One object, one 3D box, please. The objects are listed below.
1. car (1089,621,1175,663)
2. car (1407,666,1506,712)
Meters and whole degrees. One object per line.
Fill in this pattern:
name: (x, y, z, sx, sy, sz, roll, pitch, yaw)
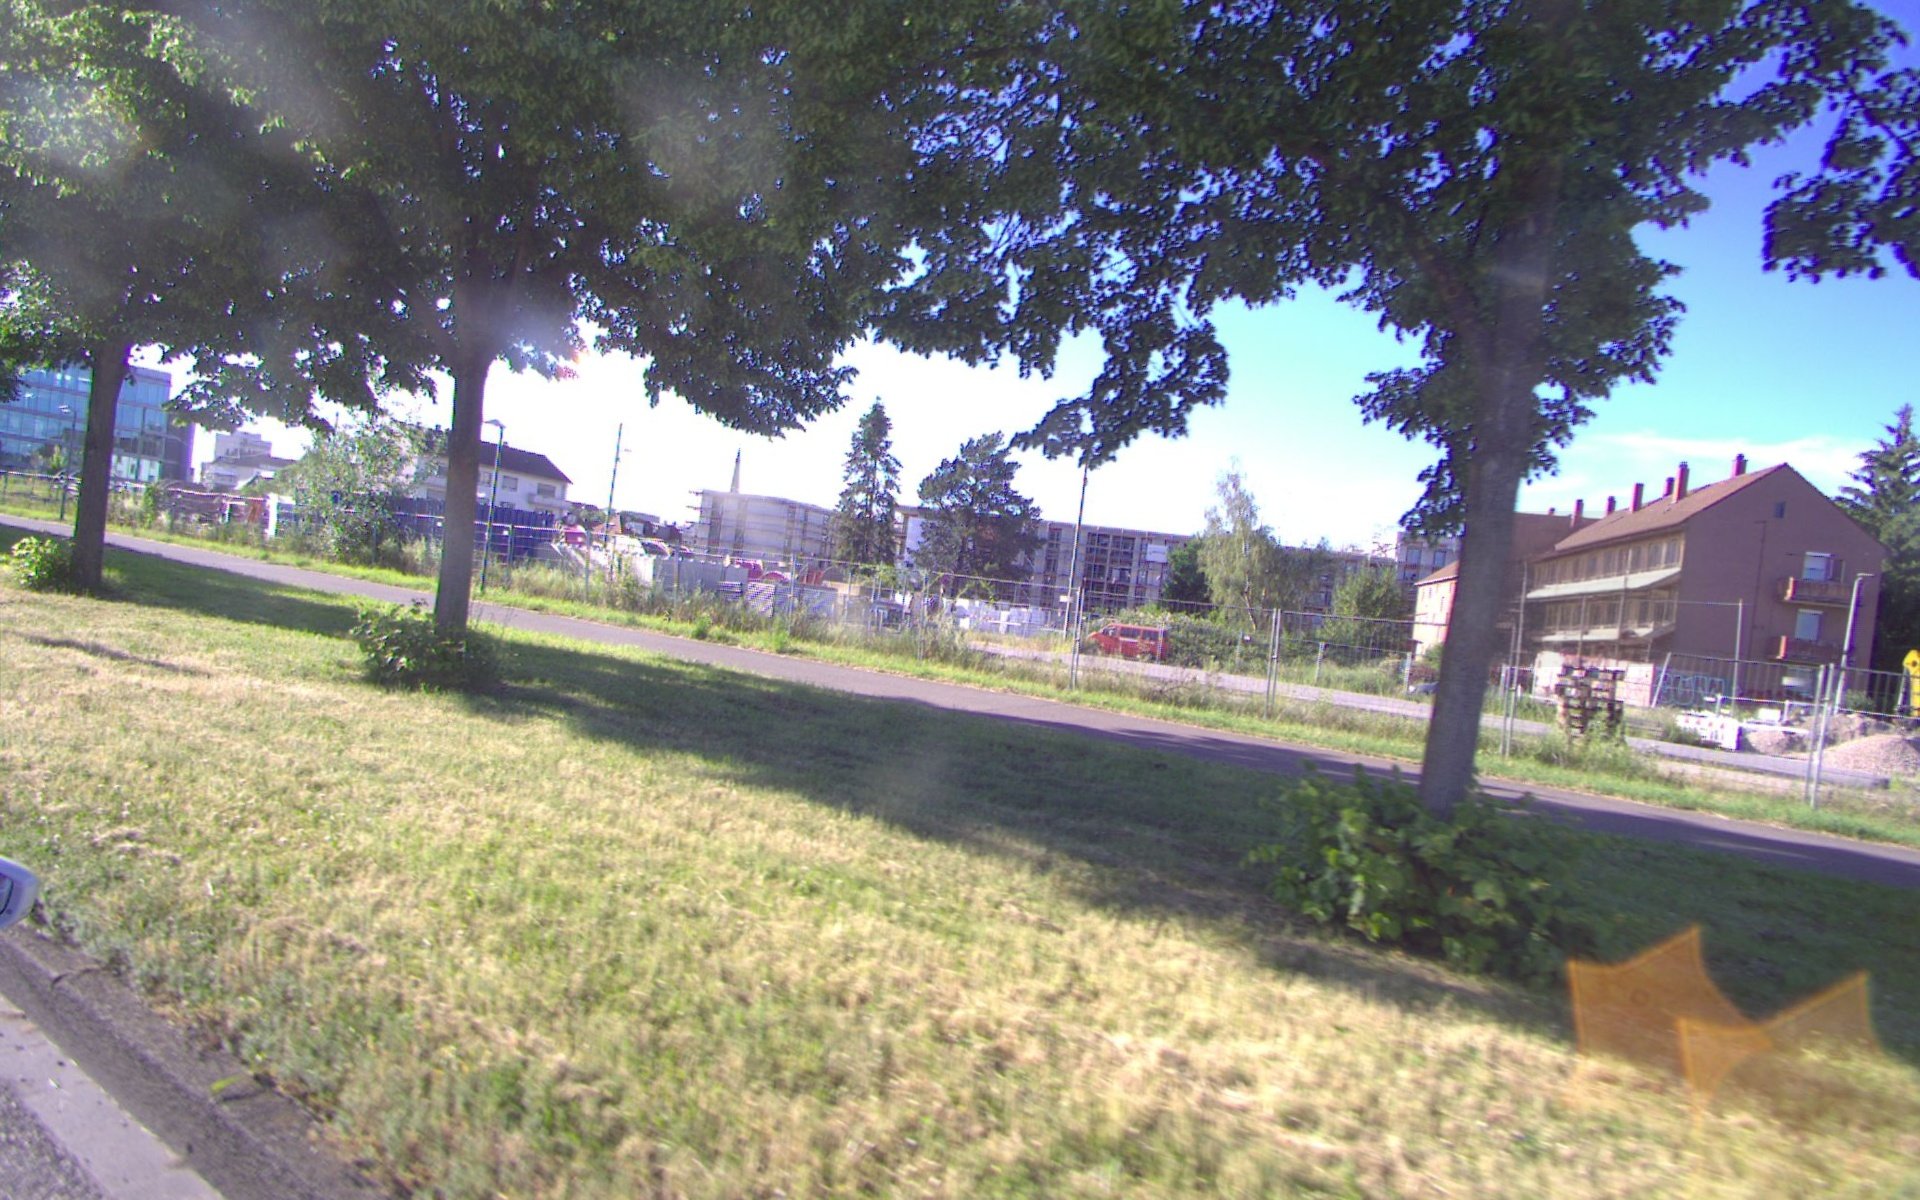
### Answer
car: (9.356, 2.292, 54.924, 3.937, 1.748, 2.173, 7, 0, 35)
car: (23.183, 4.135, 46.987, 3.844, 1.576, 1.996, 7, 0, 32)
